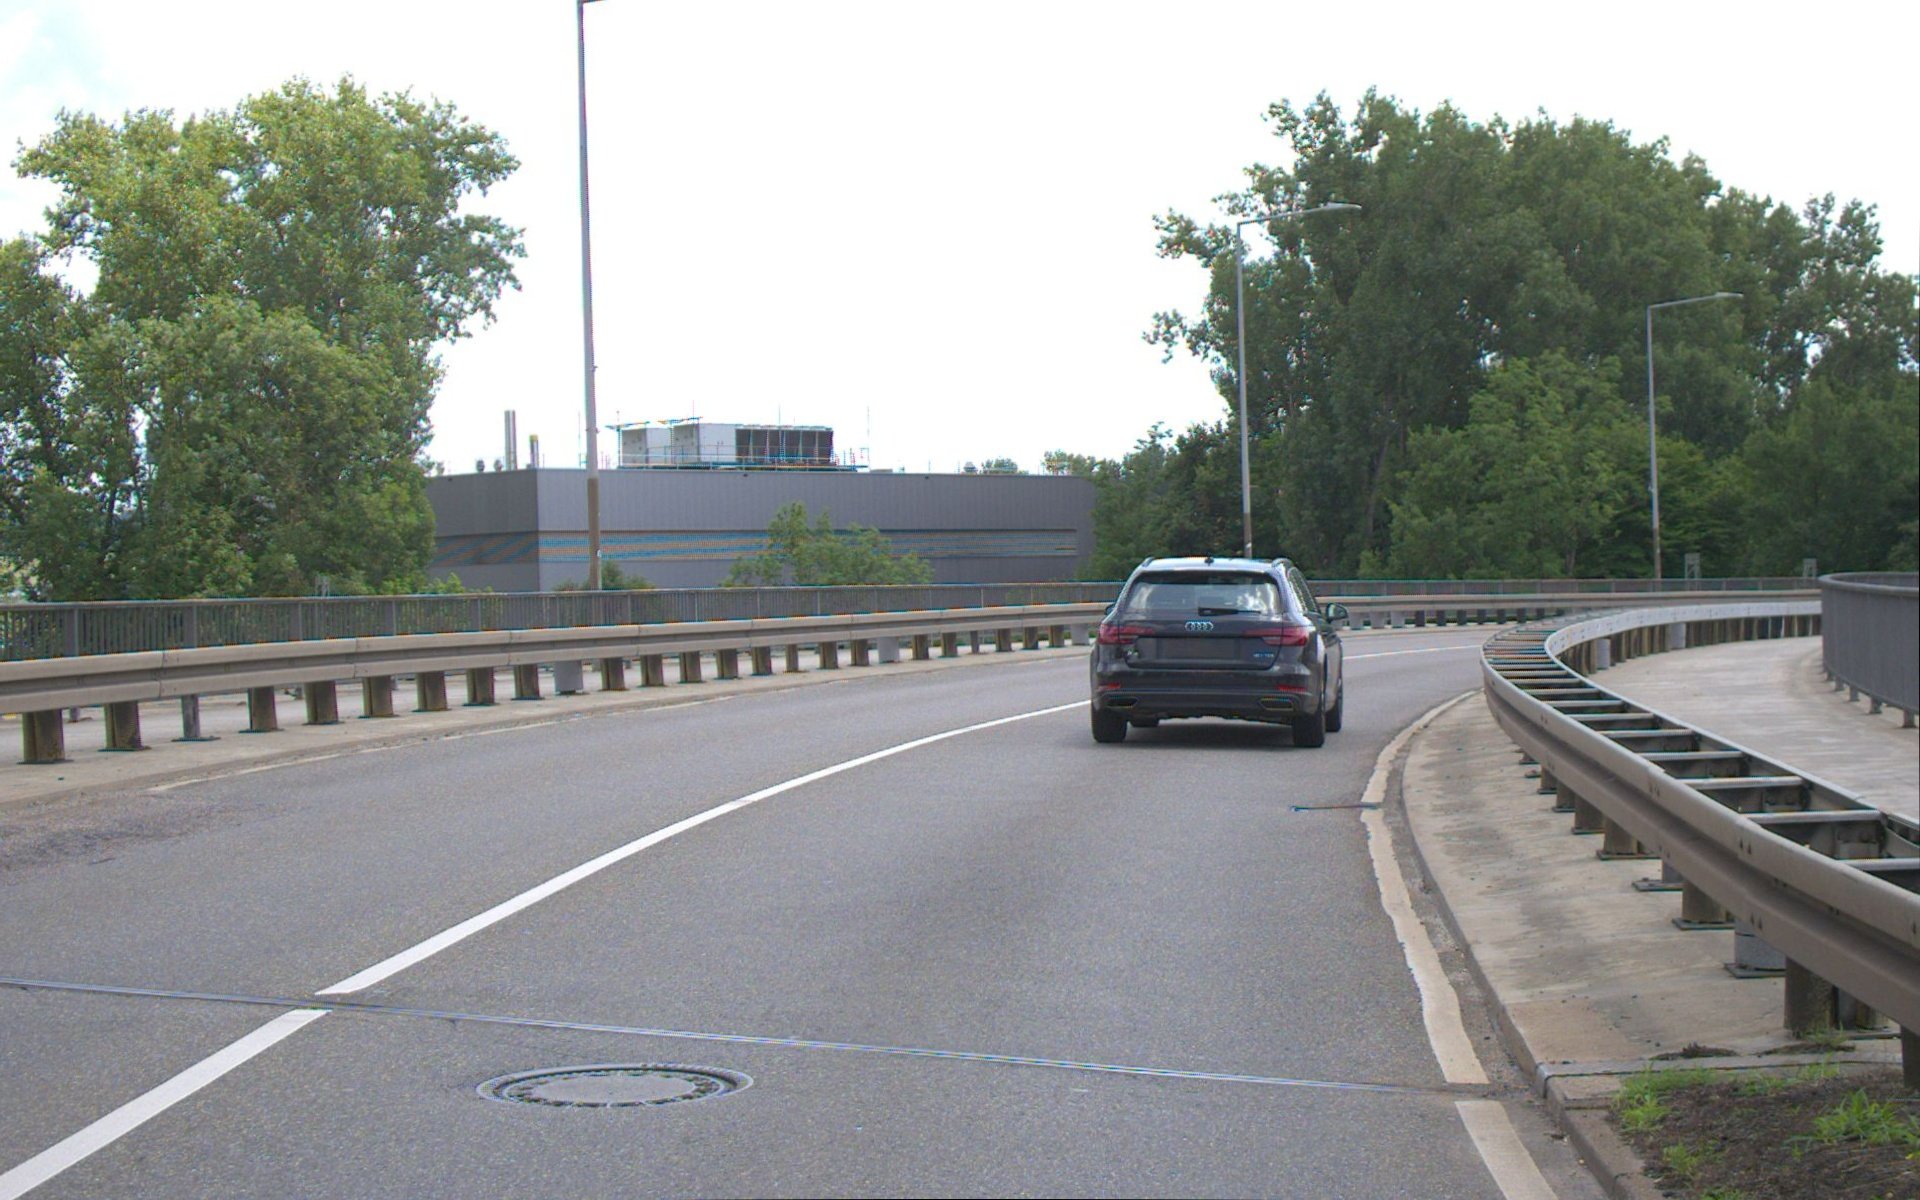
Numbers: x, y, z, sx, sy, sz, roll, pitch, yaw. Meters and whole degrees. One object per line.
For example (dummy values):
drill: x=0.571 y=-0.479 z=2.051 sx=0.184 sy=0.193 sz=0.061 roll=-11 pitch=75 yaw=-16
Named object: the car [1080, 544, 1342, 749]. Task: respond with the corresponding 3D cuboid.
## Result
car: x=2.074 y=0.311 z=27.367 sx=1.828 sy=1.486 sz=4.205 roll=1 pitch=1 yaw=7
